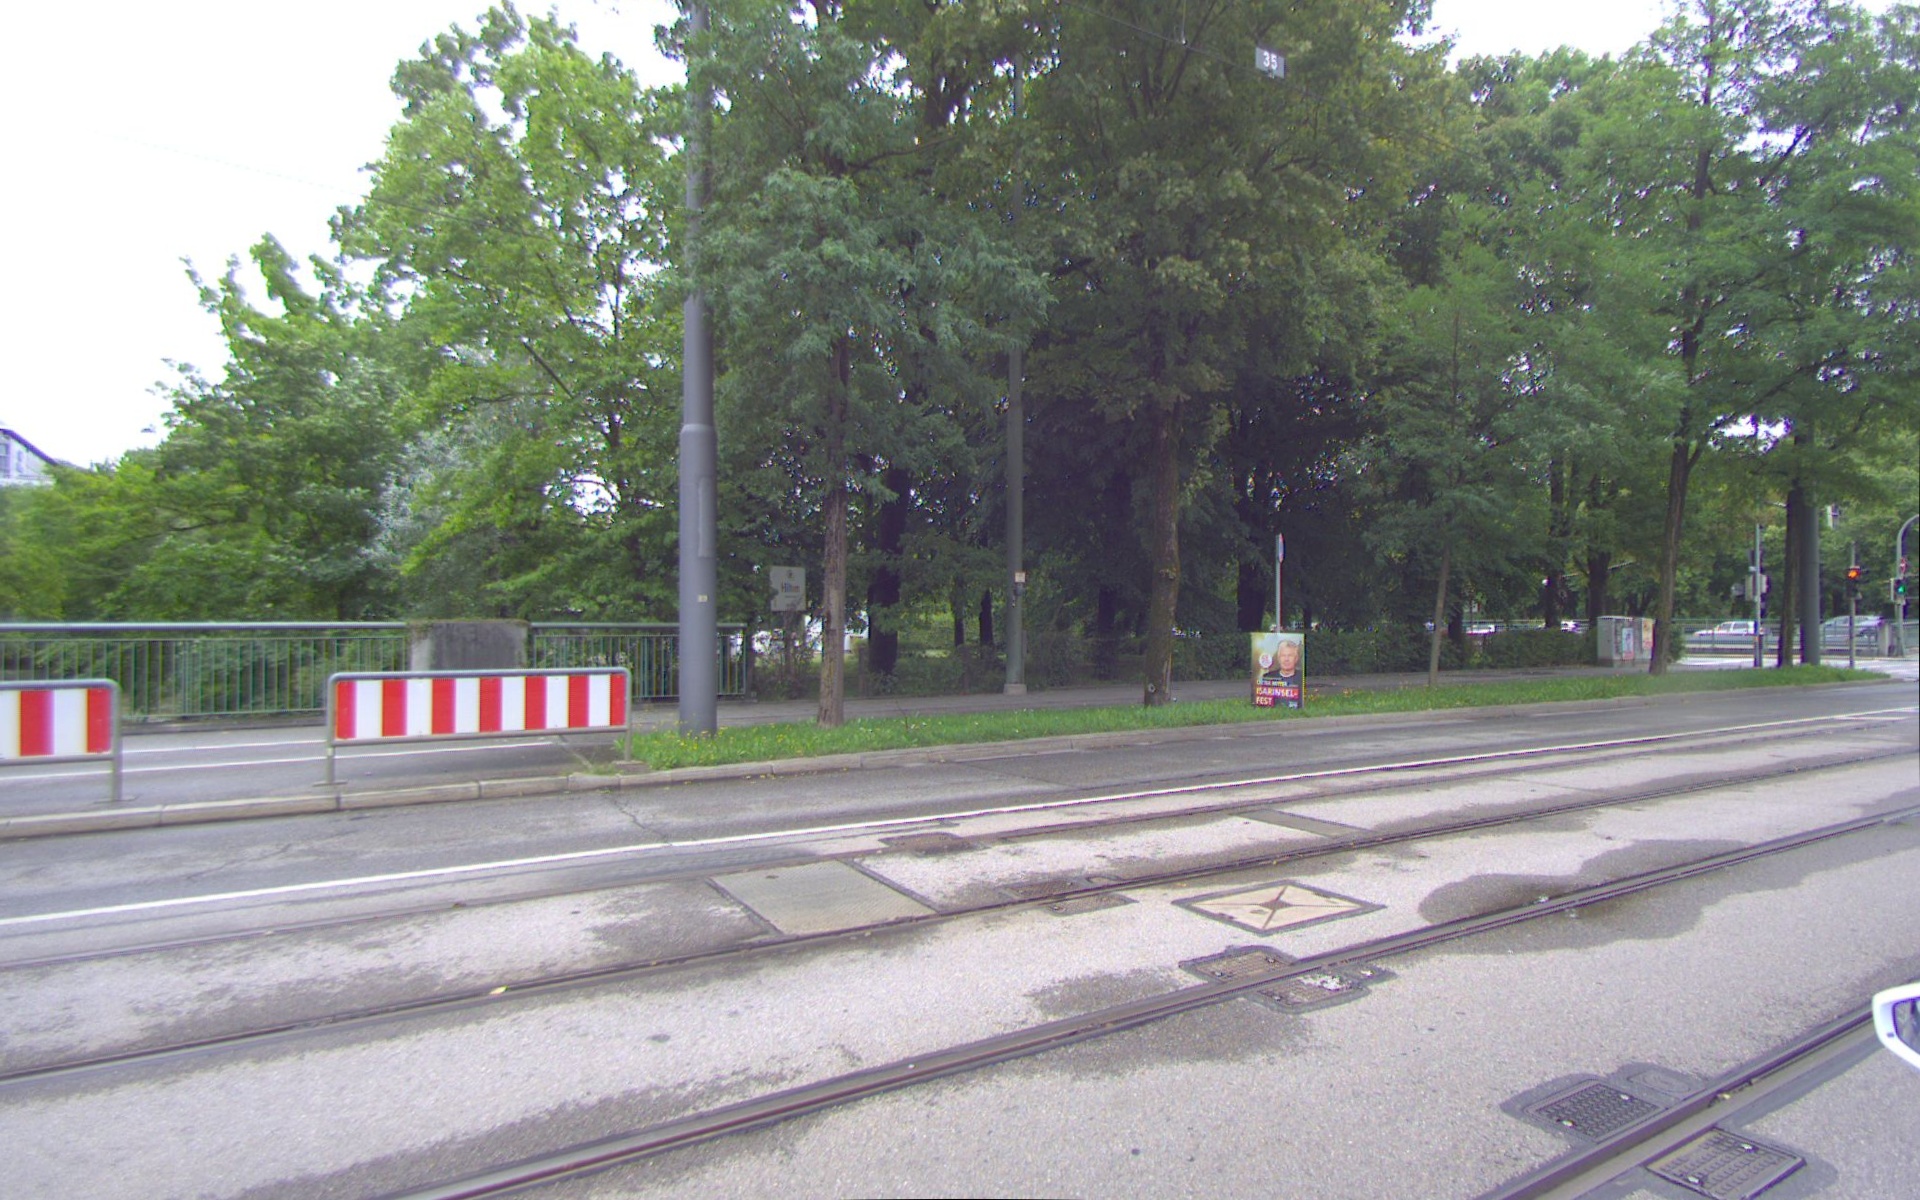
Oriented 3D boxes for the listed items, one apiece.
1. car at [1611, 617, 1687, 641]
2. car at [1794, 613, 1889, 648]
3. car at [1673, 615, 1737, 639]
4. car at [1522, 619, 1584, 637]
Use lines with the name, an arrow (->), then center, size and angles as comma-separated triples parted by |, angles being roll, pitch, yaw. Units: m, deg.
car -> 46.575, 1.956, 67.949 | 1.703, 1.423, 3.900 | 1, 0, -34
car -> 52.132, 1.772, 59.487 | 1.476, 1.912, 3.994 | 1, 0, -36
car -> 48.289, 1.730, 65.153 | 1.238, 1.471, 3.090 | 1, 0, -34
car -> 43.215, 2.009, 73.224 | 1.238, 1.201, 3.704 | 1, 0, -34
